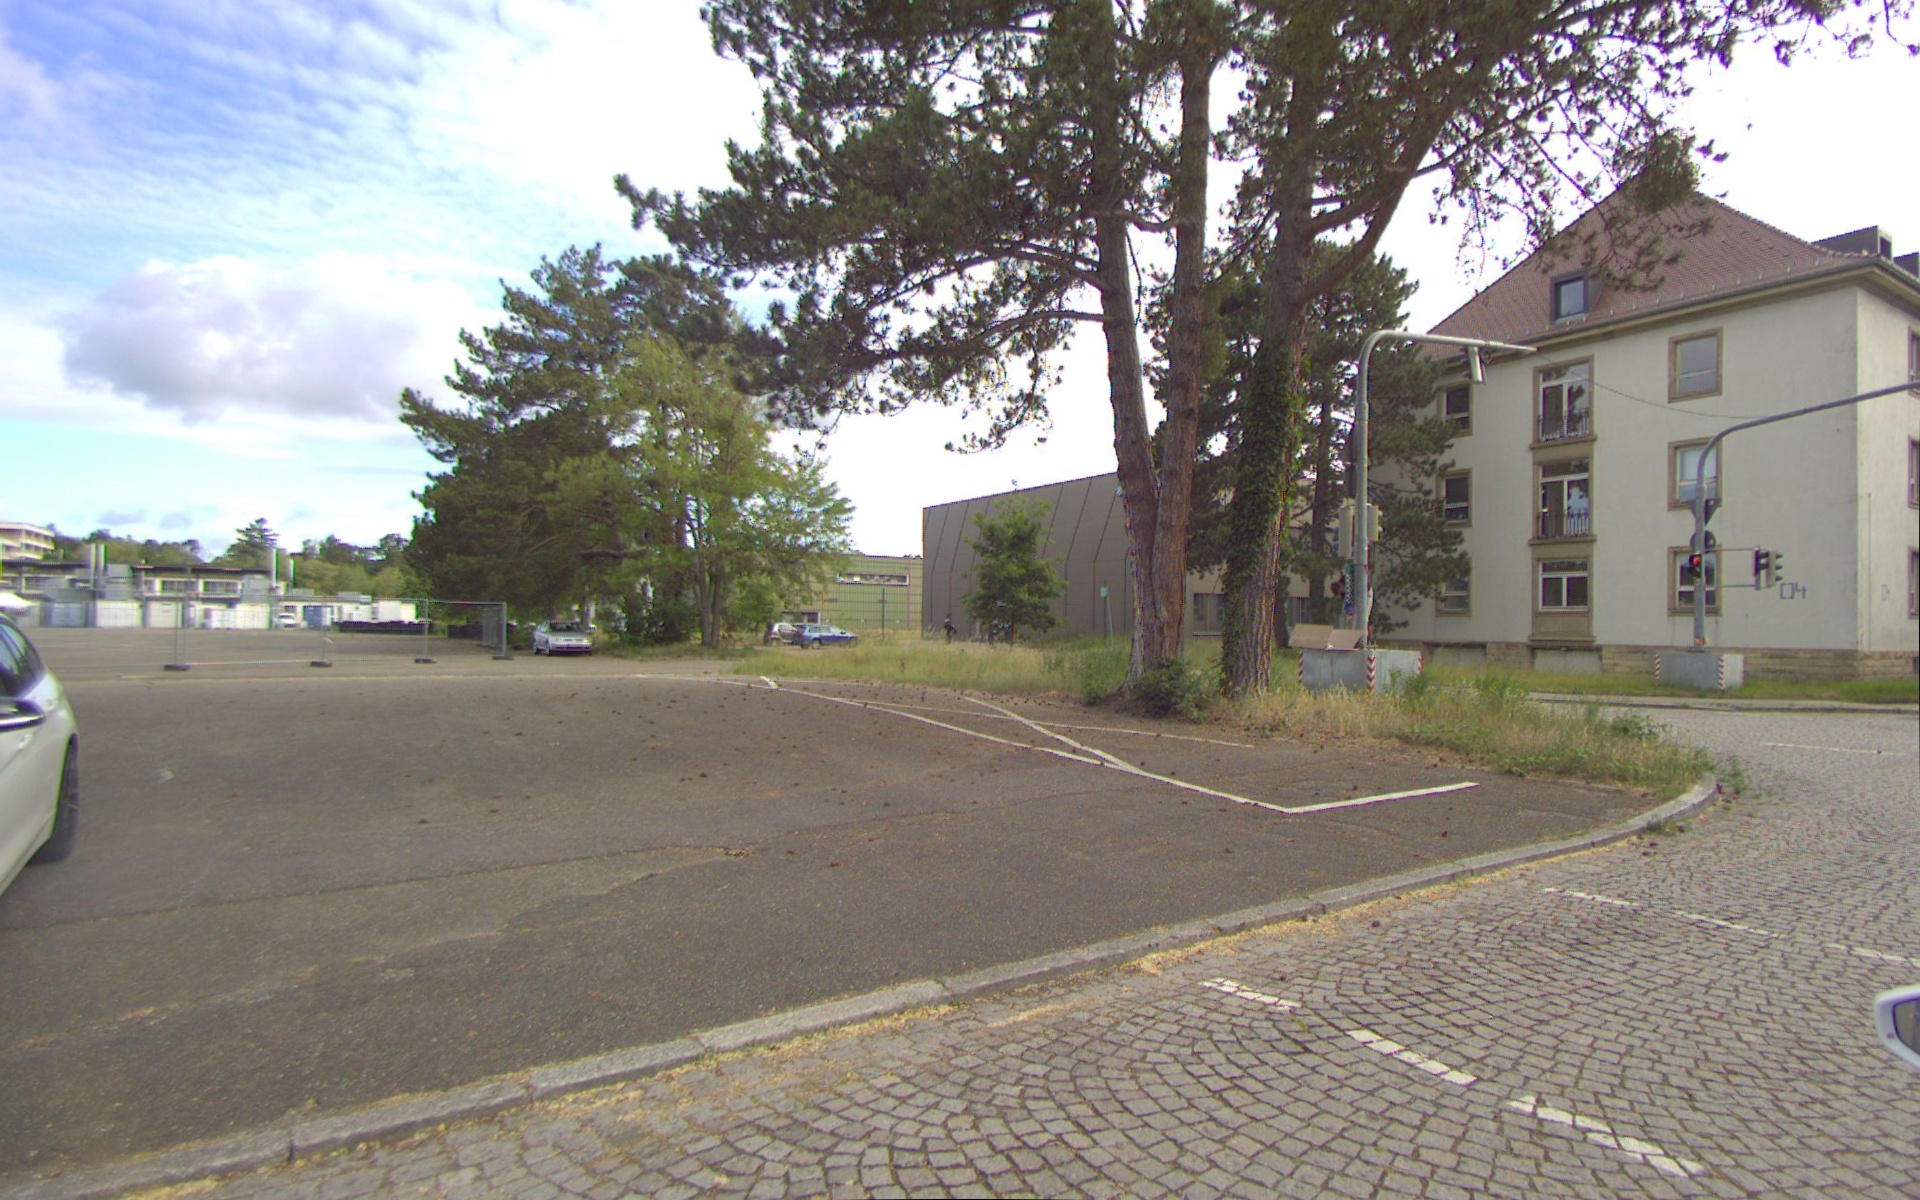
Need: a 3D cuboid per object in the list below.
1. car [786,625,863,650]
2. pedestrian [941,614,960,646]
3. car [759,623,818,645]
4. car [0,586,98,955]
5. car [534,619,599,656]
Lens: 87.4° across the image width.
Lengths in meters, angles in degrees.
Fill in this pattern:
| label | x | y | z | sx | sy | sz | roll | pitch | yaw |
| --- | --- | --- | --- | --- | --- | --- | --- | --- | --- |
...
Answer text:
| label | x | y | z | sx | sy | sz | roll | pitch | yaw |
| --- | --- | --- | --- | --- | --- | --- | --- | --- | --- |
| car | -8.527 | 2.346 | 63.152 | 4.408 | 1.449 | 1.984 | 0 | 0 | -31 |
| pedestrian | -0.640 | 1.969 | 66.065 | 0.890 | 2.040 | 0.915 | 1 | -1 | -27 |
| car | -11.906 | 2.334 | 69.759 | 3.617 | 1.449 | 1.984 | 0 | 0 | -31 |
| car | -5.001 | 0.706 | 4.091 | 1.784 | 1.463 | 4.616 | 2 | 1 | -35 |
| car | -16.062 | 1.491 | 40.903 | 1.679 | 1.410 | 3.963 | 2 | -2 | -33 |
